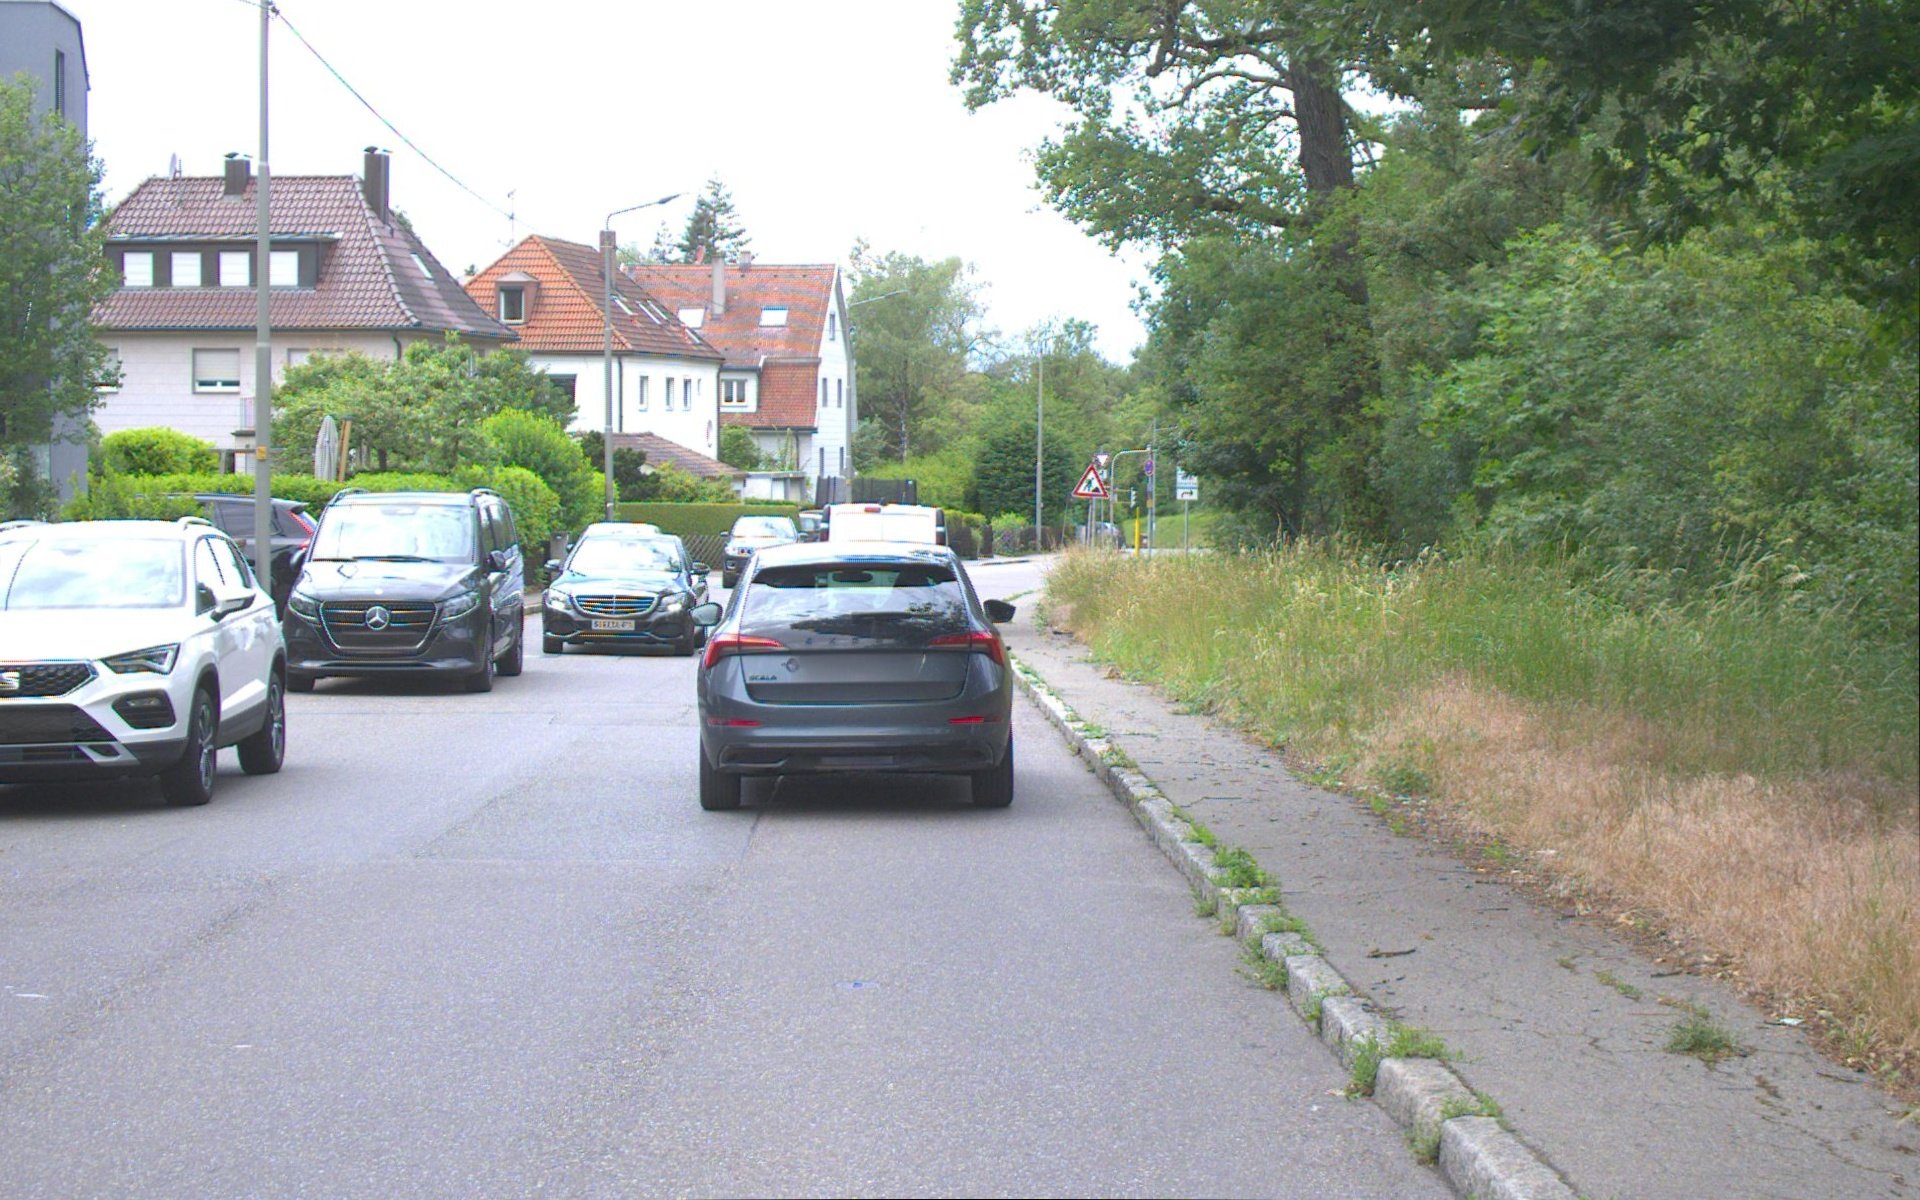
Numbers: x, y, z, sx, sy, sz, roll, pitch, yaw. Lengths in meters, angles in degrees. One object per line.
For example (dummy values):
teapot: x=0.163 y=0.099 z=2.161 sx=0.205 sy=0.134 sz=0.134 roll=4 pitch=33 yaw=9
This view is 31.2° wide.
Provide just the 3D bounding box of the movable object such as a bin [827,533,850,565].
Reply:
movable object such as a bin: x=-3.571 y=-1.510 z=101.338 sx=0.599 sy=0.947 sz=0.579 roll=1 pitch=1 yaw=6

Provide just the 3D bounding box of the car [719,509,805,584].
car: x=-4.502 y=-1.247 z=78.696 sx=1.833 sy=1.591 sz=4.324 roll=1 pitch=2 yaw=-2

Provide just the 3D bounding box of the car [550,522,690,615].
car: x=-5.777 y=-0.558 z=58.878 sx=1.783 sy=1.495 sz=4.014 roll=2 pitch=1 yaw=3

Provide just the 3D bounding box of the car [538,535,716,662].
car: x=-4.043 y=-0.058 z=42.323 sx=1.863 sy=1.409 sz=4.593 roll=2 pitch=1 yaw=-2

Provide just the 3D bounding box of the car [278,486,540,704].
car: x=-5.297 y=-0.098 z=33.653 sx=1.863 sy=1.919 sz=5.039 roll=2 pitch=1 yaw=-2

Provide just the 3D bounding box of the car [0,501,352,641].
car: x=-10.123 y=-0.383 z=43.488 sx=4.615 sy=1.691 sz=2.000 roll=0 pitch=1 yaw=-4

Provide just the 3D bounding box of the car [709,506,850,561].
car: x=-5.477 y=-2.024 z=104.658 sx=3.988 sy=1.612 sz=2.000 roll=1 pitch=1 yaw=8

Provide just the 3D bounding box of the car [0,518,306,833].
car: x=-5.120 y=0.369 z=20.253 sx=1.838 sy=1.643 sz=4.186 roll=-1 pitch=1 yaw=-2

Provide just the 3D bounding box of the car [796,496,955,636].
car: x=-1.309 y=-0.535 z=50.911 sx=2.071 sy=1.915 sz=4.923 roll=1 pitch=1 yaw=-4

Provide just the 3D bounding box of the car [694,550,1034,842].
car: x=-0.646 y=0.471 z=19.958 sx=1.727 sy=1.434 sz=4.324 roll=1 pitch=1 yaw=-4
